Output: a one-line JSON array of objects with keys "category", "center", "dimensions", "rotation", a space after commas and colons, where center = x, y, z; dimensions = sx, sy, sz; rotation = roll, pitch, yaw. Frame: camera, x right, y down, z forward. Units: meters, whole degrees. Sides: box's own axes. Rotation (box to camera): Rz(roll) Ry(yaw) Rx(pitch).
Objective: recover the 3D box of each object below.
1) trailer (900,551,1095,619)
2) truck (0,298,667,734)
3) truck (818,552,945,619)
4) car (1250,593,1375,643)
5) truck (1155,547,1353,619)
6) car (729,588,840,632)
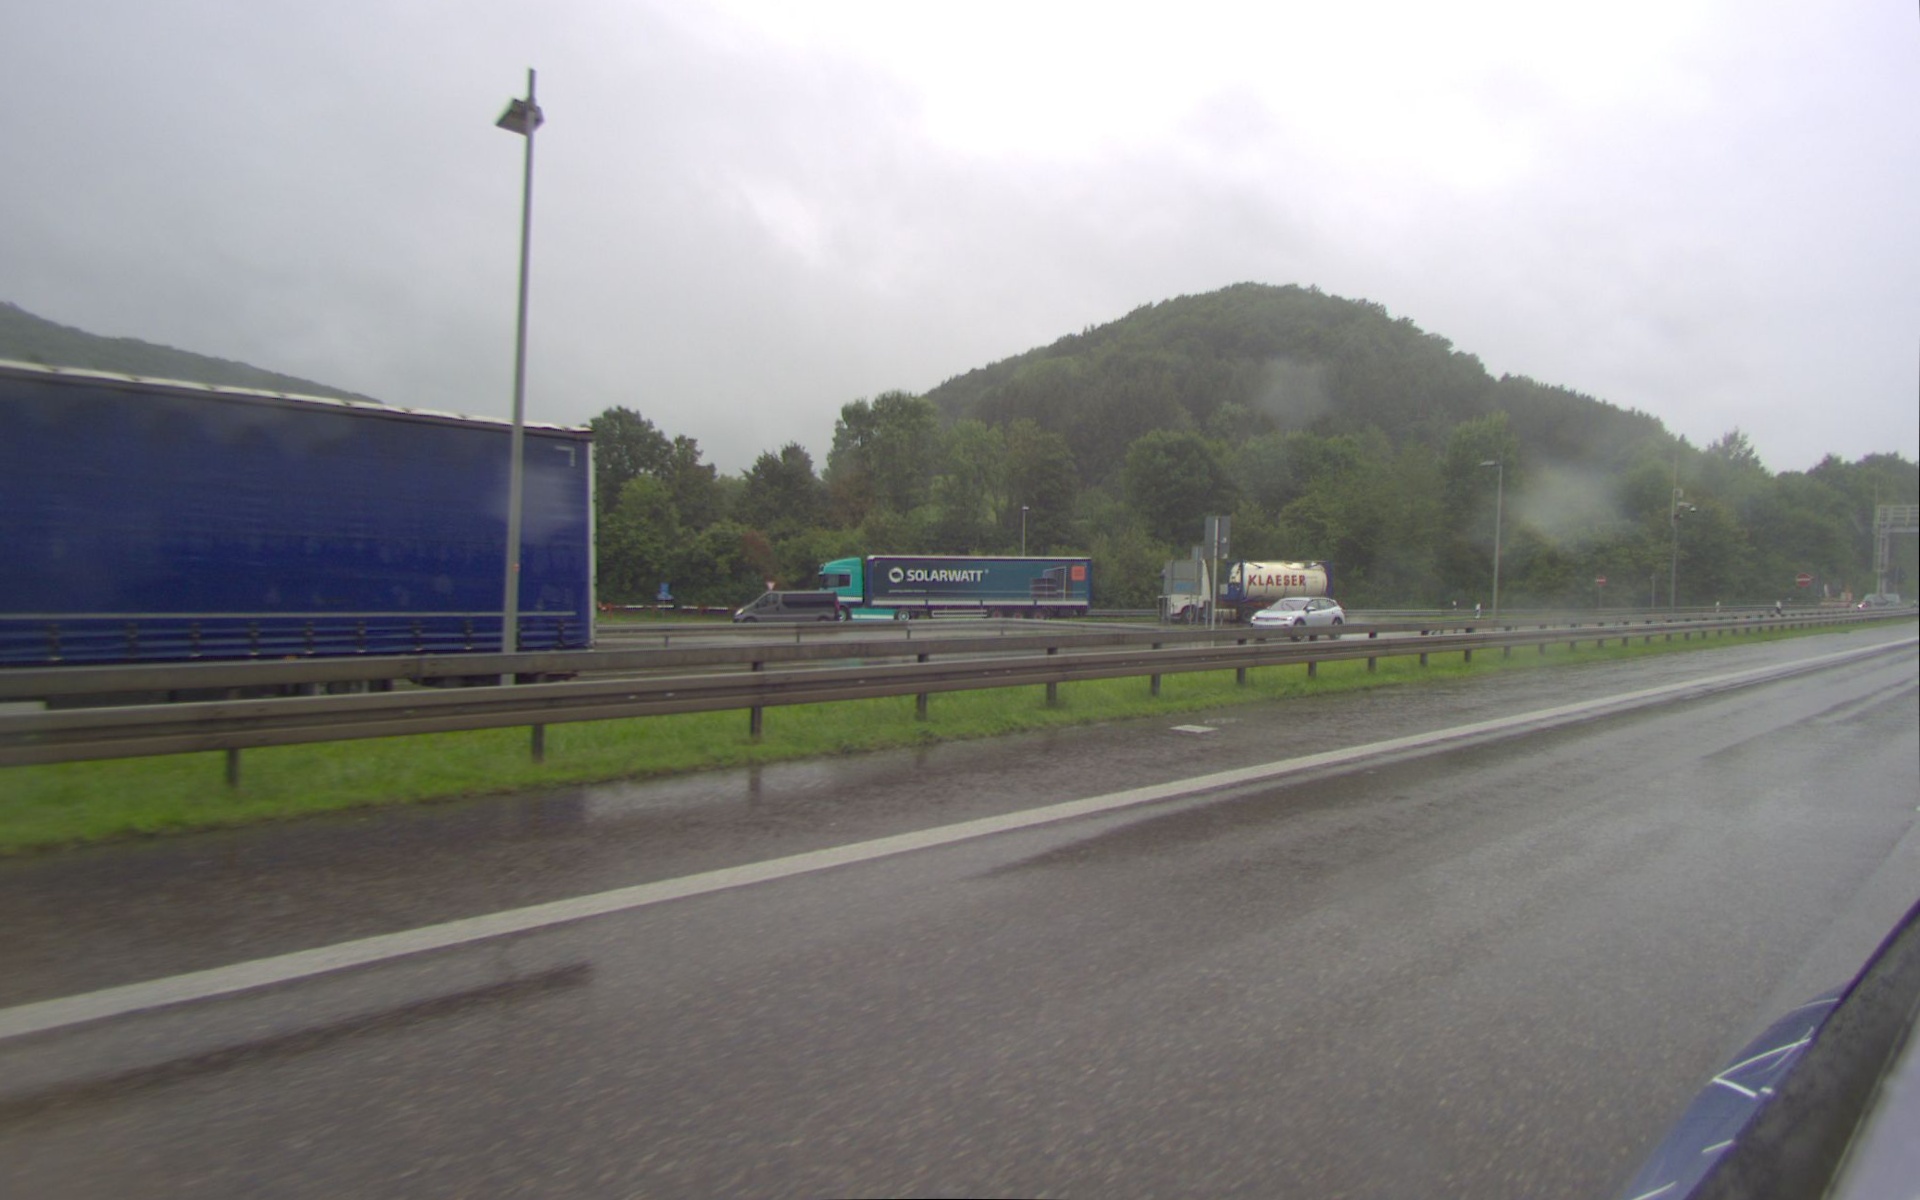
[{"category": "trailer", "center": [2.185, -0.928, 61.219], "dimensions": [11.514, 3.950, 2.796], "rotation": [0, 0, -6]}, {"category": "truck", "center": [-9.555, -0.851, 12.799], "dimensions": [10.853, 4.458, 3.407], "rotation": [0, -1, -40]}, {"category": "truck", "center": [-4.740, -0.875, 60.553], "dimensions": [7.383, 3.915, 2.760], "rotation": [0, 0, -6]}, {"category": "car", "center": [13.672, 0.646, 39.064], "dimensions": [5.562, 1.772, 1.997], "rotation": [-1, 0, -40]}, {"category": "truck", "center": [18.268, -1.070, 63.088], "dimensions": [11.630, 4.310, 2.884], "rotation": [0, 0, -8]}, {"category": "car", "center": [-8.341, 0.445, 48.053], "dimensions": [4.948, 2.039, 2.004], "rotation": [0, 0, -19]}]
